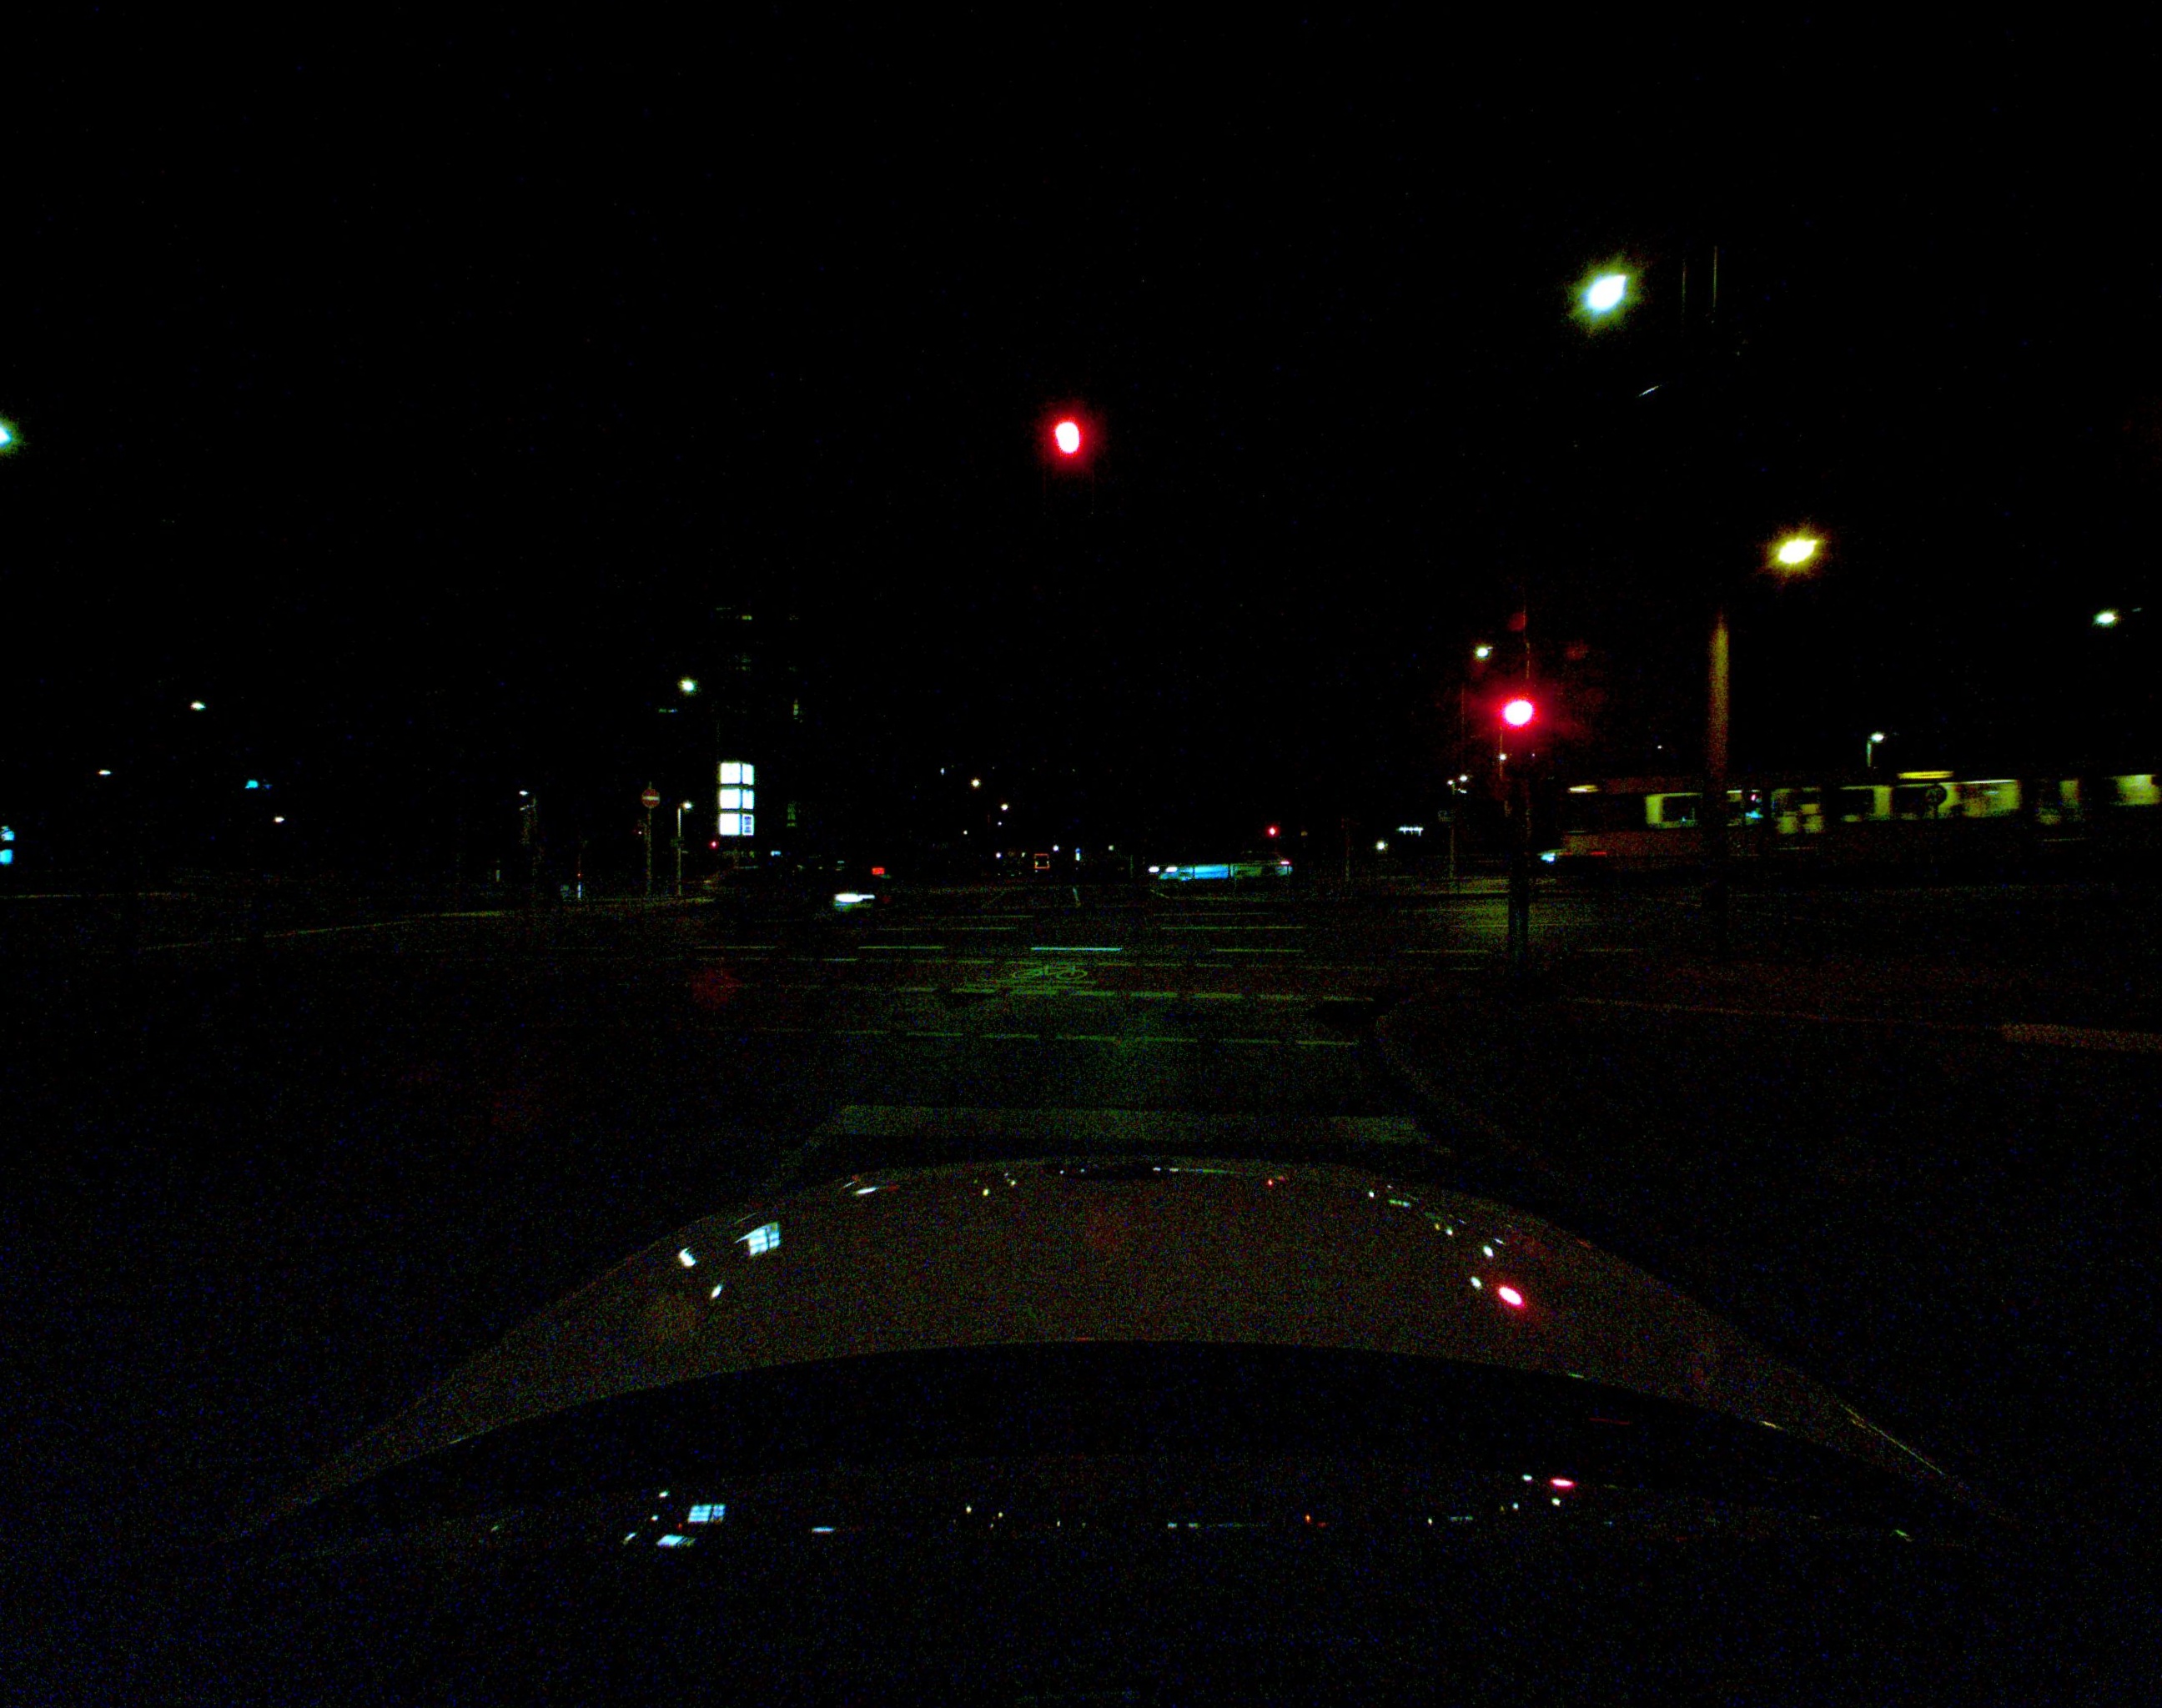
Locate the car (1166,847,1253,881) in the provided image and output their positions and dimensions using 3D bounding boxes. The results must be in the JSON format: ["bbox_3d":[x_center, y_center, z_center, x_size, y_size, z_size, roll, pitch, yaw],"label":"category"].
[{"bbox_3d":[5.761,0.469,36.922,3.817,1.486,1.871,0,-1,5],"label":"car"}]

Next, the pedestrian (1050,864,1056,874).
[{"bbox_3d":[-5.128,2.693,147.836,0.851,1.912,1.001,0,-1,-16],"label":"pedestrian"}]

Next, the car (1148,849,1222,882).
[{"bbox_3d":[5.543,0.587,43.266,3.798,1.631,1.816,-1,0,8],"label":"car"}]

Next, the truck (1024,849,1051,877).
[{"bbox_3d":[-7.998,1.676,149.242,3.366,4.843,7.865,0,-1,-14],"label":"truck"}]

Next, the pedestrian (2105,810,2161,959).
[{"bbox_3d":[12.512,0.315,9.213,0.870,1.656,0.843,-7,-5,42],"label":"pedestrian"}]

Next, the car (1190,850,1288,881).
[{"bbox_3d":[7.655,0.550,39.758,4.553,1.486,1.781,0,0,5],"label":"car"}]

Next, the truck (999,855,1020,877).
[{"bbox_3d":[-10.540,1.780,120.048,2.419,3.089,6.412,0,-1,-11],"label":"truck"}]

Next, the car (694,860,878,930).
[{"bbox_3d":[-6.920,0.953,19.330,3.669,1.420,1.645,-3,0,5],"label":"car"}]

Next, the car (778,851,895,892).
[{"bbox_3d":[-11.500,0.814,38.555,4.920,1.884,1.871,0,-1,5],"label":"car"}]

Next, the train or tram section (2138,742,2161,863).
[{"bbox_3d":[43.704,-1.873,24.208,18.761,3.850,2.969,-1,-1,5],"label":"train or tram section"}]

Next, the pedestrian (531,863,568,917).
[{"bbox_3d":[-17.230,1.158,26.432,0.700,1.722,0.681,0,-1,10],"label":"pedestrian"}]

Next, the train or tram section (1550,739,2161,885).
[{"bbox_3d":[25.174,-1.276,25.797,18.328,3.849,2.970,-2,1,5],"label":"train or tram section"}]
